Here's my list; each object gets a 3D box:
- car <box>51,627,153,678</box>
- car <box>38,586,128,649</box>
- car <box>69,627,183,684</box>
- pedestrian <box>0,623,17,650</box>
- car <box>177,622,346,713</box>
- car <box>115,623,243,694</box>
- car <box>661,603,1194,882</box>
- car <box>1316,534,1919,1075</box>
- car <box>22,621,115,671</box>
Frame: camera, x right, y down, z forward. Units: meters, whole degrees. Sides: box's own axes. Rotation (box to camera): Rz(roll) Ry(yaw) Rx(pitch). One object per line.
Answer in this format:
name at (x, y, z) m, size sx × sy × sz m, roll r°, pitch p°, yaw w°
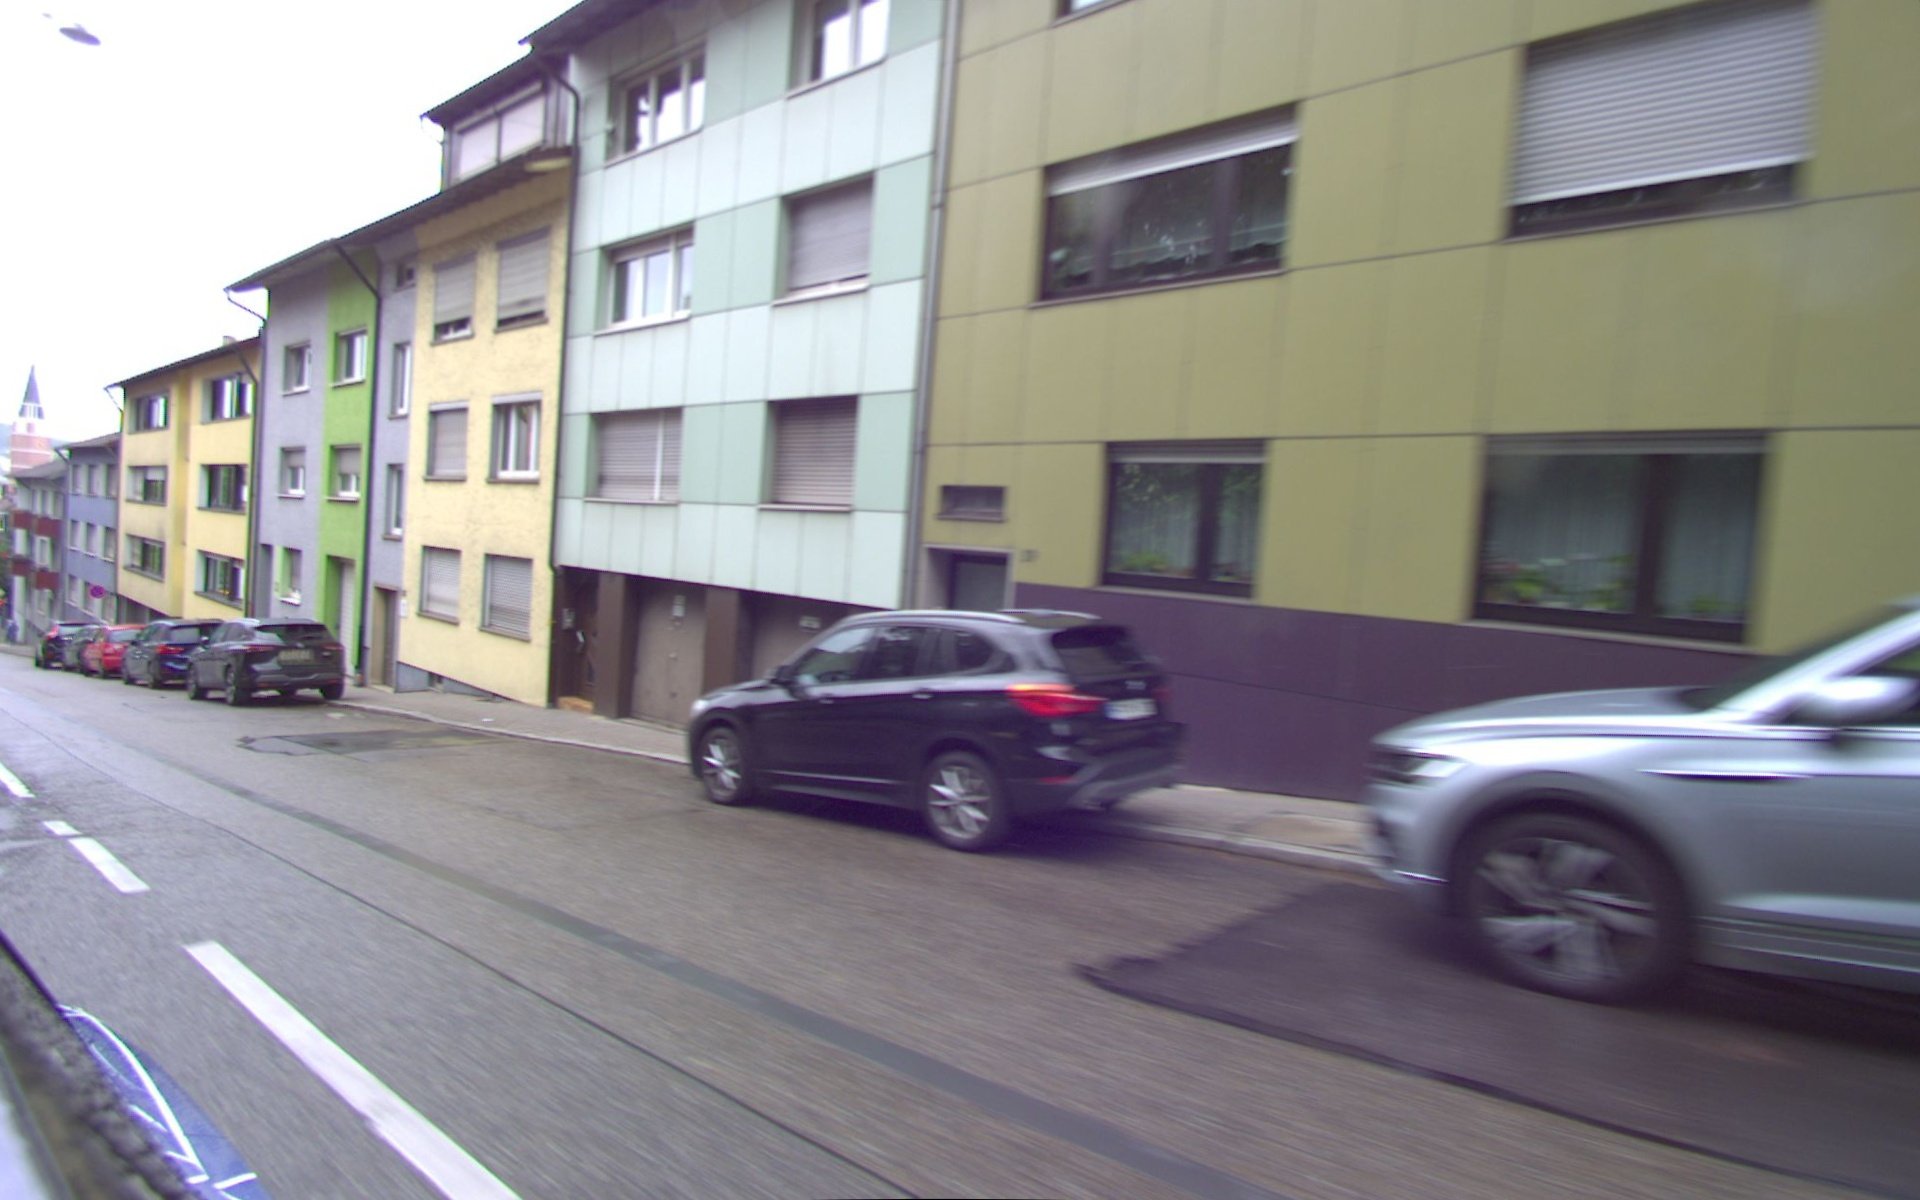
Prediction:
car at (-27.773, 1.660, 32.726) m, size 3.998 × 1.548 × 1.884 m, roll -1°, pitch -3°, yaw 41°
car at (-38.547, 0.800, 44.434) m, size 5.441 × 2.570 × 2.095 m, roll -1°, pitch -4°, yaw 41°
car at (-24.250, 1.578, 29.393) m, size 3.998 × 1.548 × 1.884 m, roll -1°, pitch -3°, yaw 41°
pedestrian at (-59.204, 2.263, 62.953) m, size 0.455 × 1.630 × 0.795 m, roll -1°, pitch -2°, yaw 43°
car at (-13.619, 1.248, 19.659) m, size 3.997 × 1.606 × 1.675 m, roll -1°, pitch -3°, yaw 40°
car at (-19.056, 1.377, 24.626) m, size 4.053 × 1.606 × 1.666 m, roll -1°, pitch -3°, yaw 41°
car at (-0.486, 0.900, 7.911) m, size 4.381 × 1.627 × 1.396 m, roll -1°, pitch -4°, yaw 41°
car at (4.096, 0.707, 3.771) m, size 4.880 × 1.753 × 1.946 m, roll -1°, pitch -4°, yaw 39°
car at (-31.536, 1.615, 35.772) m, size 4.326 × 1.669 × 1.884 m, roll -1°, pitch -3°, yaw 41°
